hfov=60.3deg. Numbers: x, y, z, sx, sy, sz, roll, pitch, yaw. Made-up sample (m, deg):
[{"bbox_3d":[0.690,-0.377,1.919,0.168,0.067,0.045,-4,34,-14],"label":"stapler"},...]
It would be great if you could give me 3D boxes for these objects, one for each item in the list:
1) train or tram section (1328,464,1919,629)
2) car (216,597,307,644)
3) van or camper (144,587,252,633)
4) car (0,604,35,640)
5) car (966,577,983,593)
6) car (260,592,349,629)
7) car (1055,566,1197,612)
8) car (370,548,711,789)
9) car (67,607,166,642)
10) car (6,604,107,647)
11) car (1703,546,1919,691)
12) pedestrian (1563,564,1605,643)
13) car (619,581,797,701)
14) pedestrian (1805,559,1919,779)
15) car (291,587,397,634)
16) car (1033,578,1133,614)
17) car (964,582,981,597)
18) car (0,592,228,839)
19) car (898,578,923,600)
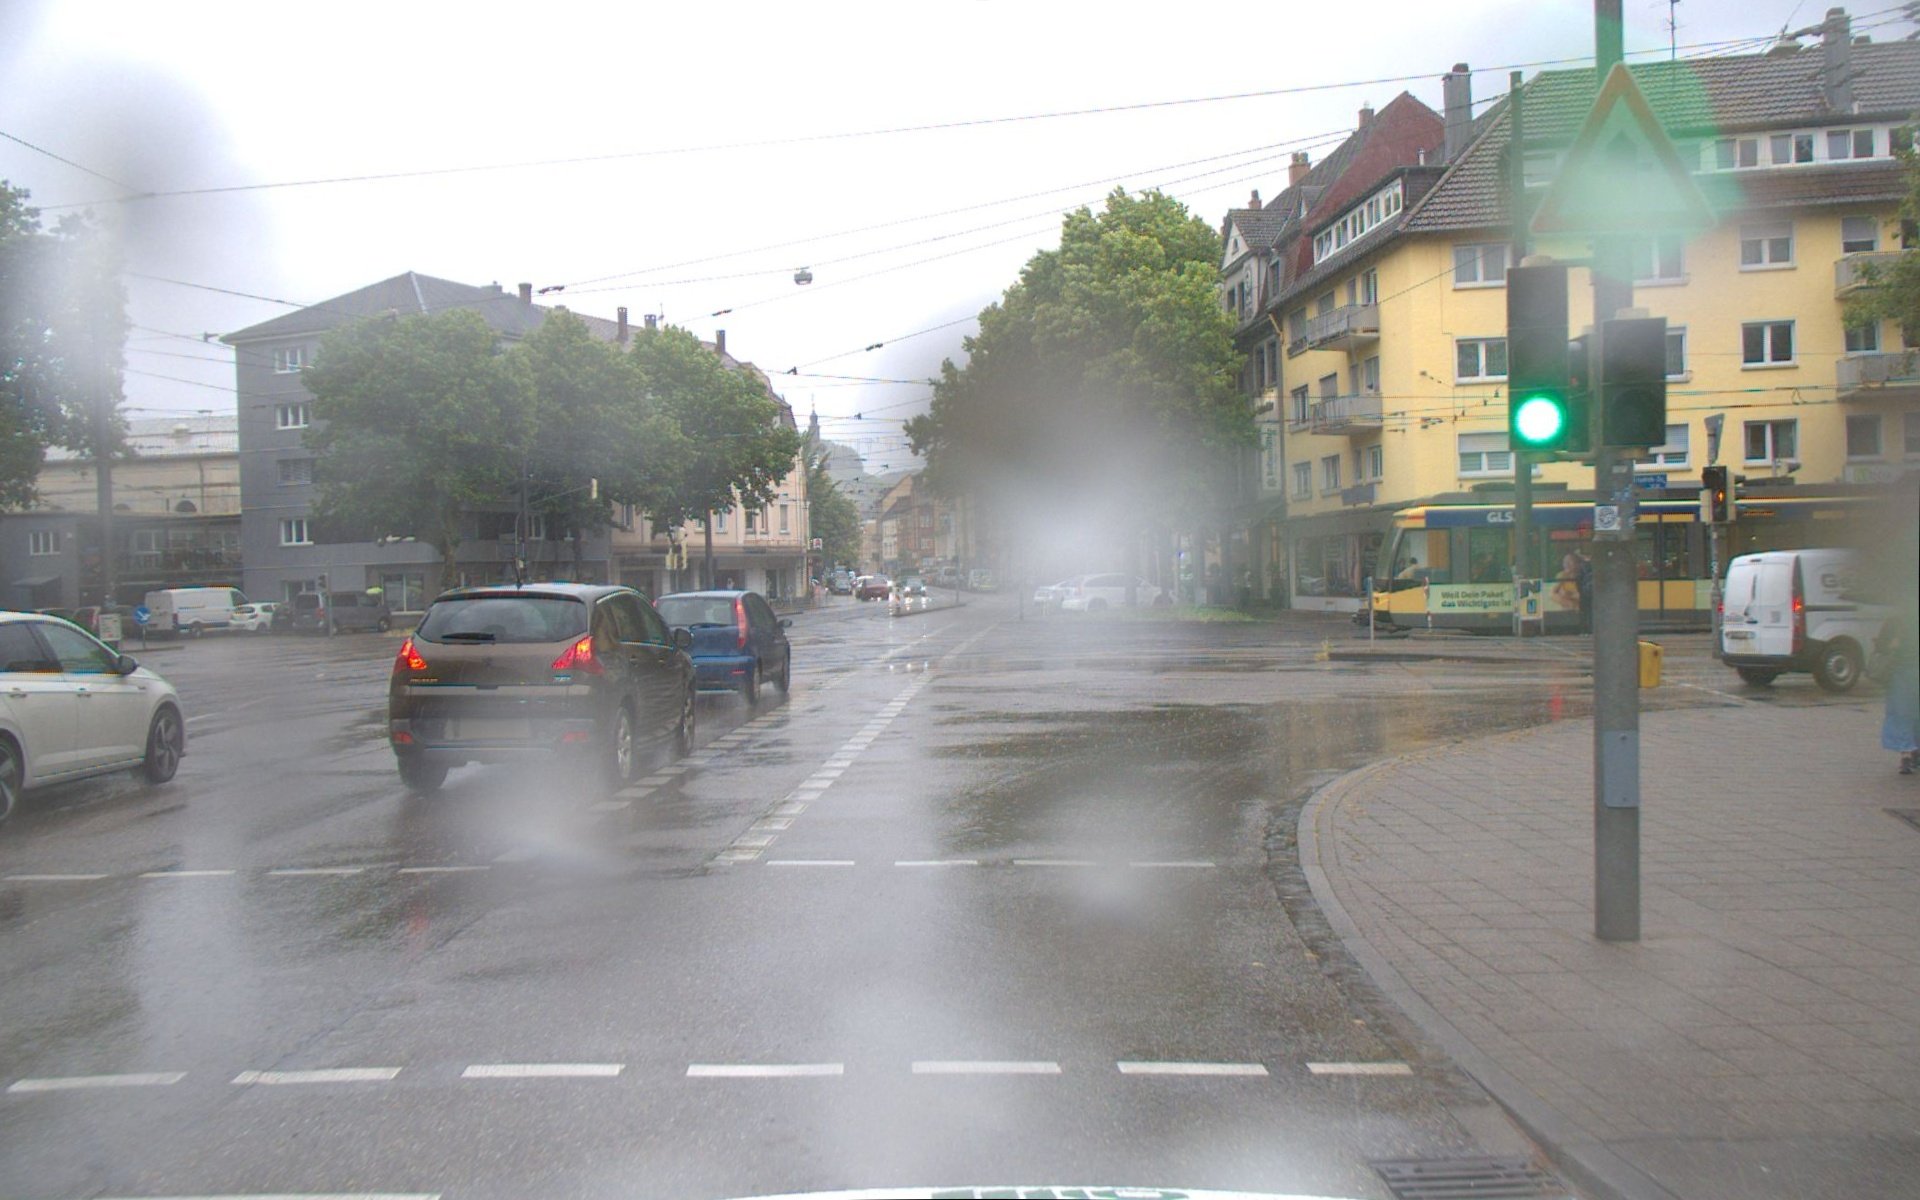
[{"bbox_3d":[16.120,-1.211,39.015,14.224,3.620,3.118,0,1,4],"label":"train or tram section"},{"bbox_3d":[-33.104,0.945,78.491,1.951,2.048,4.004,-1,1,14],"label":"car"},{"bbox_3d":[-36.090,0.468,78.478,1.952,2.111,4.655,-1,0,21],"label":"van or camper"},{"bbox_3d":[-50.432,1.210,85.595,1.955,1.794,3.995,-1,1,28],"label":"car"},{"bbox_3d":[1.291,-1.336,148.559,1.446,1.386,3.461,1,0,-1],"label":"car"},{"bbox_3d":[-30.954,0.475,78.199,1.880,1.646,4.004,-1,1,14],"label":"car"},{"bbox_3d":[6.165,-0.416,61.716,4.883,1.499,1.995,-2,1,-11],"label":"car"},{"bbox_3d":[-3.349,0.454,14.065,1.764,1.739,4.192,0,1,1],"label":"car"},{"bbox_3d":[-40.933,1.187,80.348,1.953,1.642,3.999,-1,-2,23],"label":"car"},{"bbox_3d":[-44.842,1.270,82.205,1.955,2.049,3.995,0,-1,27],"label":"car"},{"bbox_3d":[12.383,0.199,22.258,4.026,1.828,1.905,-1,1,-11],"label":"car"},{"bbox_3d":[13.753,0.066,36.450,0.796,1.706,1.016,-1,0,24],"label":"pedestrian"},{"bbox_3d":[-3.331,0.581,22.561,1.844,1.485,3.831,0,-2,0],"label":"car"},{"bbox_3d":[7.550,0.521,13.324,1.087,1.696,0.991,1,1,45],"label":"pedestrian"},{"bbox_3d":[-28.398,0.460,76.378,2.021,2.048,4.392,0,1,28],"label":"car"},{"bbox_3d":[6.061,-0.192,81.547,4.485,1.584,2.001,-1,1,21],"label":"car"},{"bbox_3d":[1.179,-0.975,155.053,1.446,1.386,3.461,1,0,-1],"label":"car"},{"bbox_3d":[-7.159,0.762,12.174,1.770,1.563,4.189,-1,1,-2],"label":"car"},{"bbox_3d":[-4.125,-0.923,137.702,1.954,1.718,3.997,1,0,-3],"label":"car"}]
